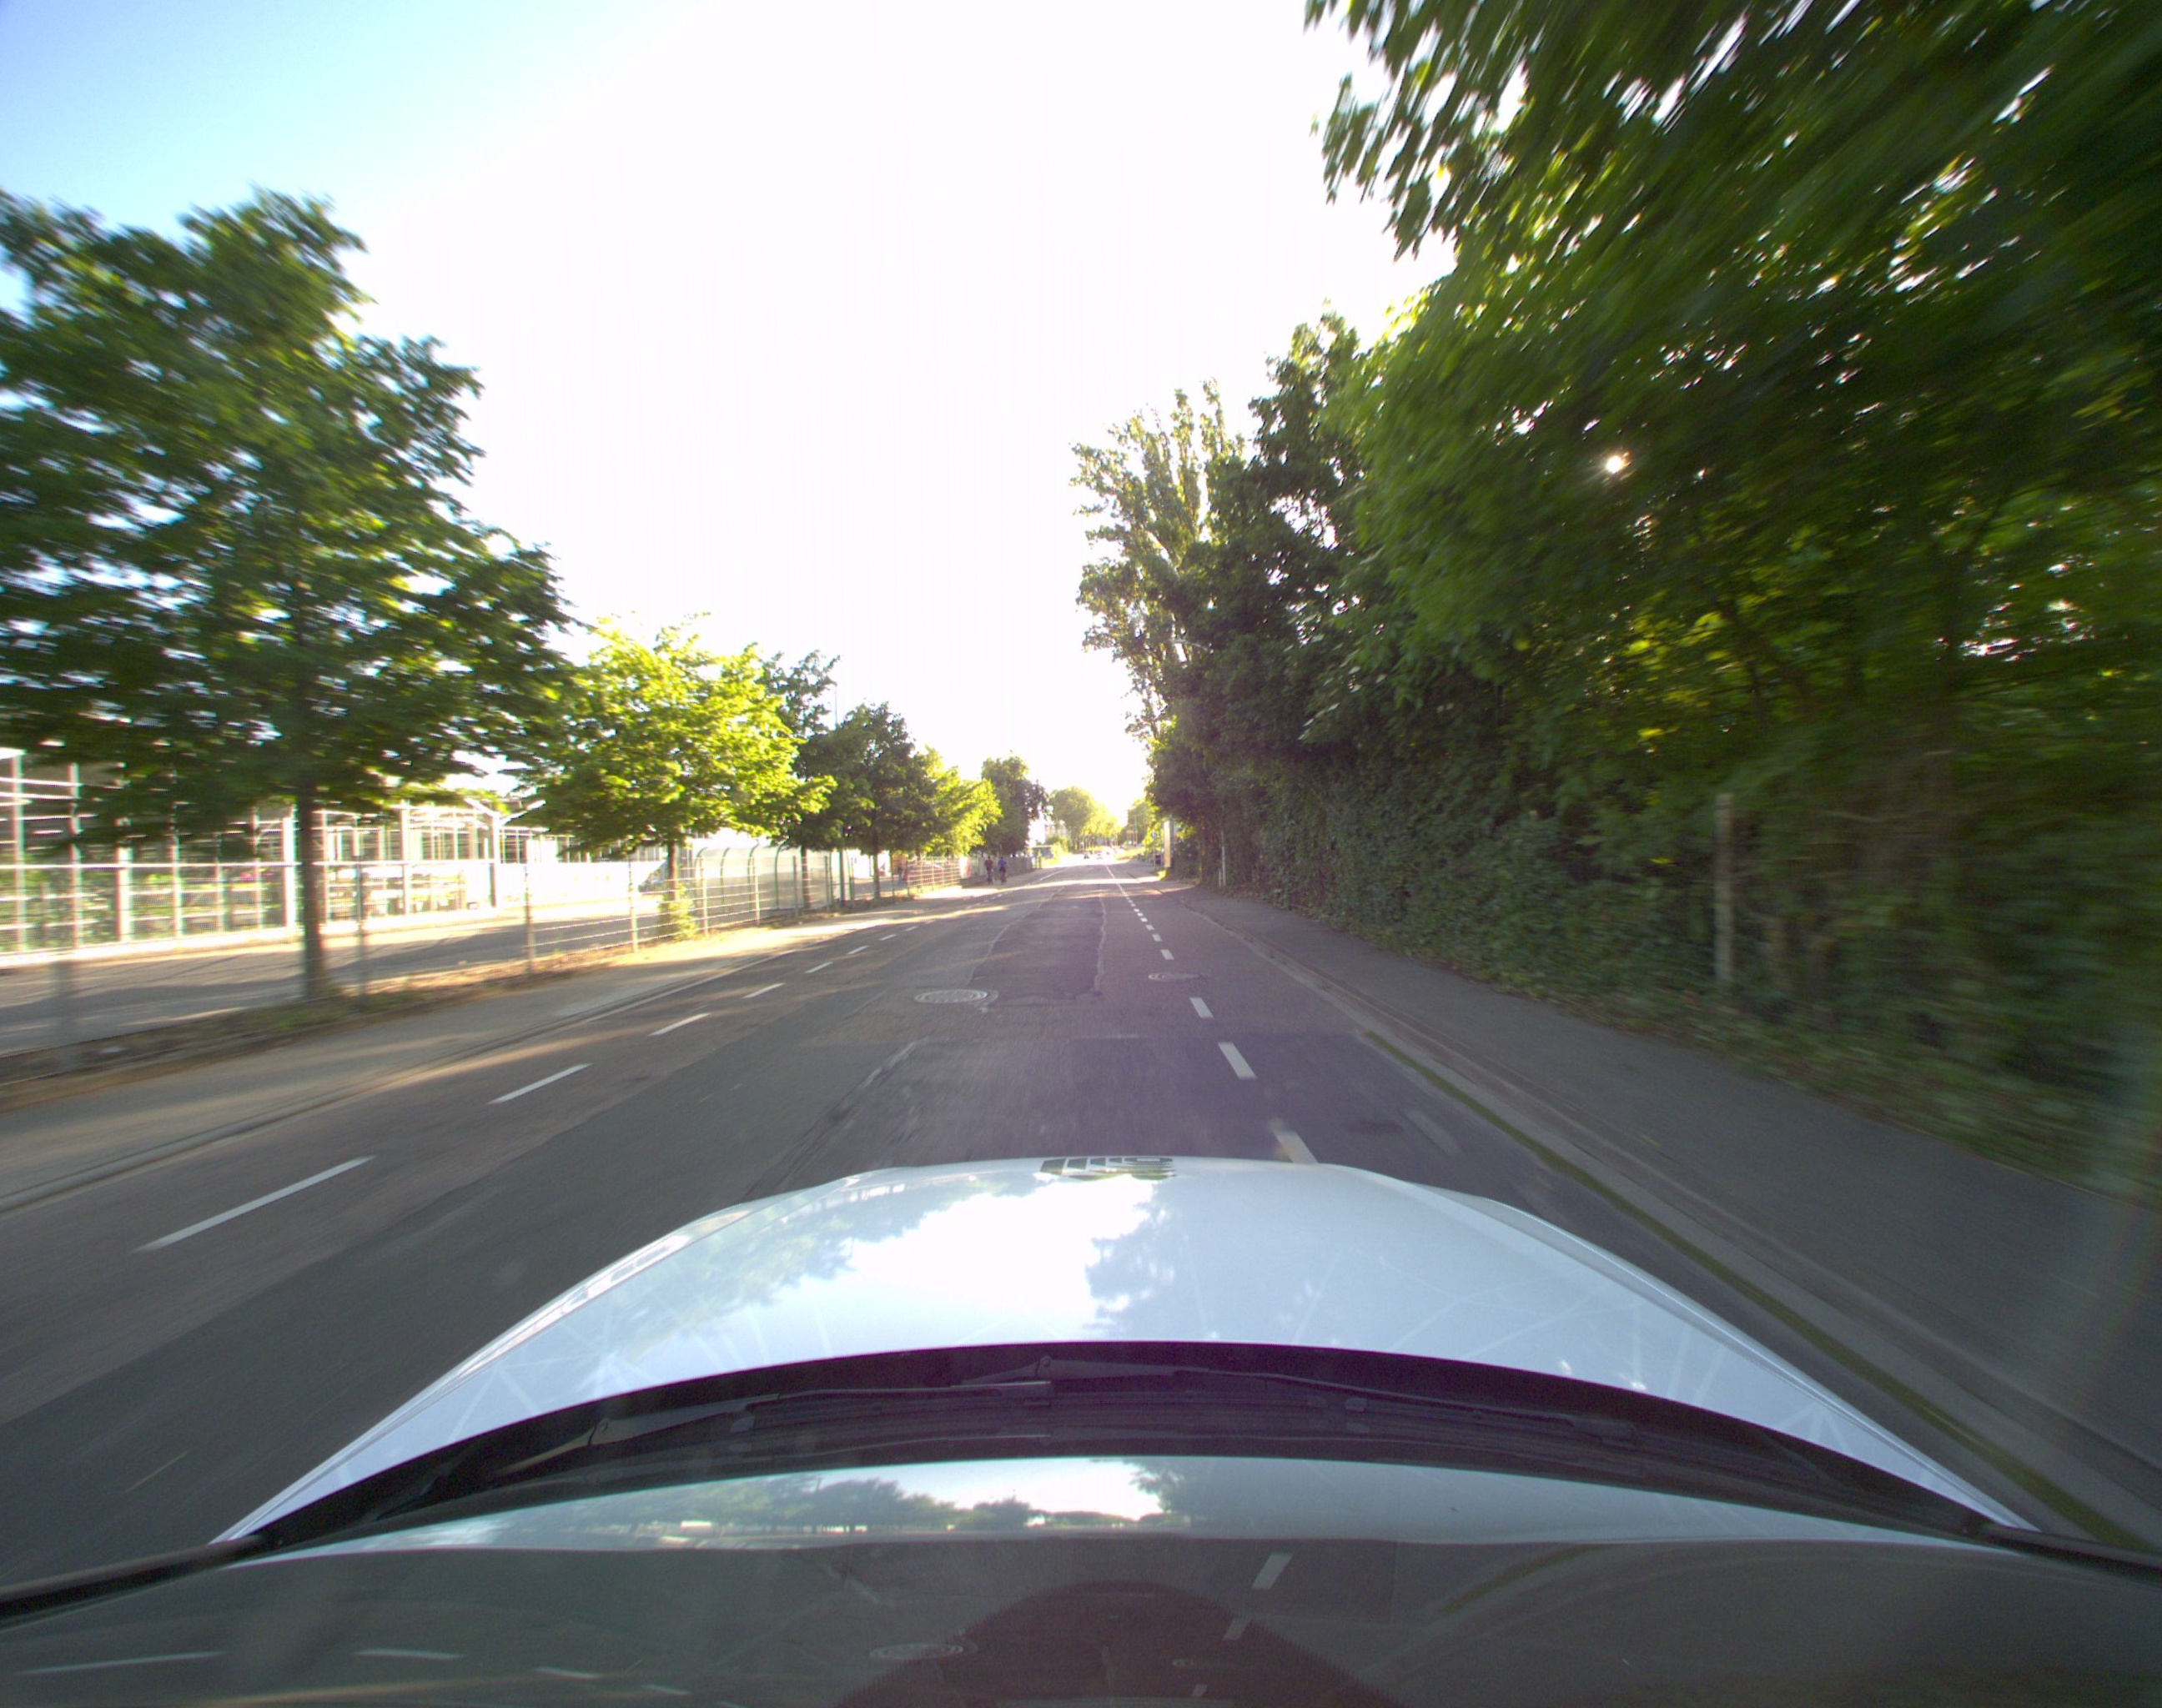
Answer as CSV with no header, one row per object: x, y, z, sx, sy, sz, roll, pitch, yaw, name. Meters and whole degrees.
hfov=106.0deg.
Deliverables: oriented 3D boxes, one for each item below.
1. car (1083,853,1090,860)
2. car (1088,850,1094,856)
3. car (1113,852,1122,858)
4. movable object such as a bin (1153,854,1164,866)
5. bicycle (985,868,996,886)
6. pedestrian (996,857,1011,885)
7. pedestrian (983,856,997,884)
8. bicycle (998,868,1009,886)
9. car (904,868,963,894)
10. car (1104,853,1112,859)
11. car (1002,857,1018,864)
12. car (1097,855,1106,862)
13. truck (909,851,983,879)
1.369,0.557,202.440,1.735,1.526,4.112,-6,0,1,car
3.209,-0.305,254.034,1.648,1.503,4.001,-4,-1,2,car
10.810,0.413,241.781,2.158,1.684,3.998,-2,0,-1,car
9.112,0.694,96.305,1.125,1.372,1.345,-2,0,0,movable object such as a bin
-5.809,1.466,52.440,0.468,1.148,1.870,-1,0,1,bicycle
-4.974,1.071,52.388,0.718,1.720,1.057,-3,-1,1,pedestrian
-5.856,1.018,52.475,0.718,1.720,1.057,-3,-1,1,pedestrian
-4.972,1.462,52.320,0.444,1.148,2.201,-1,0,1,bicycle
-10.380,1.911,57.638,3.715,1.451,1.805,-5,0,-1,car
7.837,0.538,236.835,2.156,1.684,4.001,-2,0,1,car
-19.679,1.762,225.574,4.307,1.618,1.878,-2,0,0,car
4.800,1.005,188.896,1.782,1.420,4.003,-2,0,3,car
-19.417,1.630,117.223,10.066,3.615,2.775,-2,-1,0,truck
